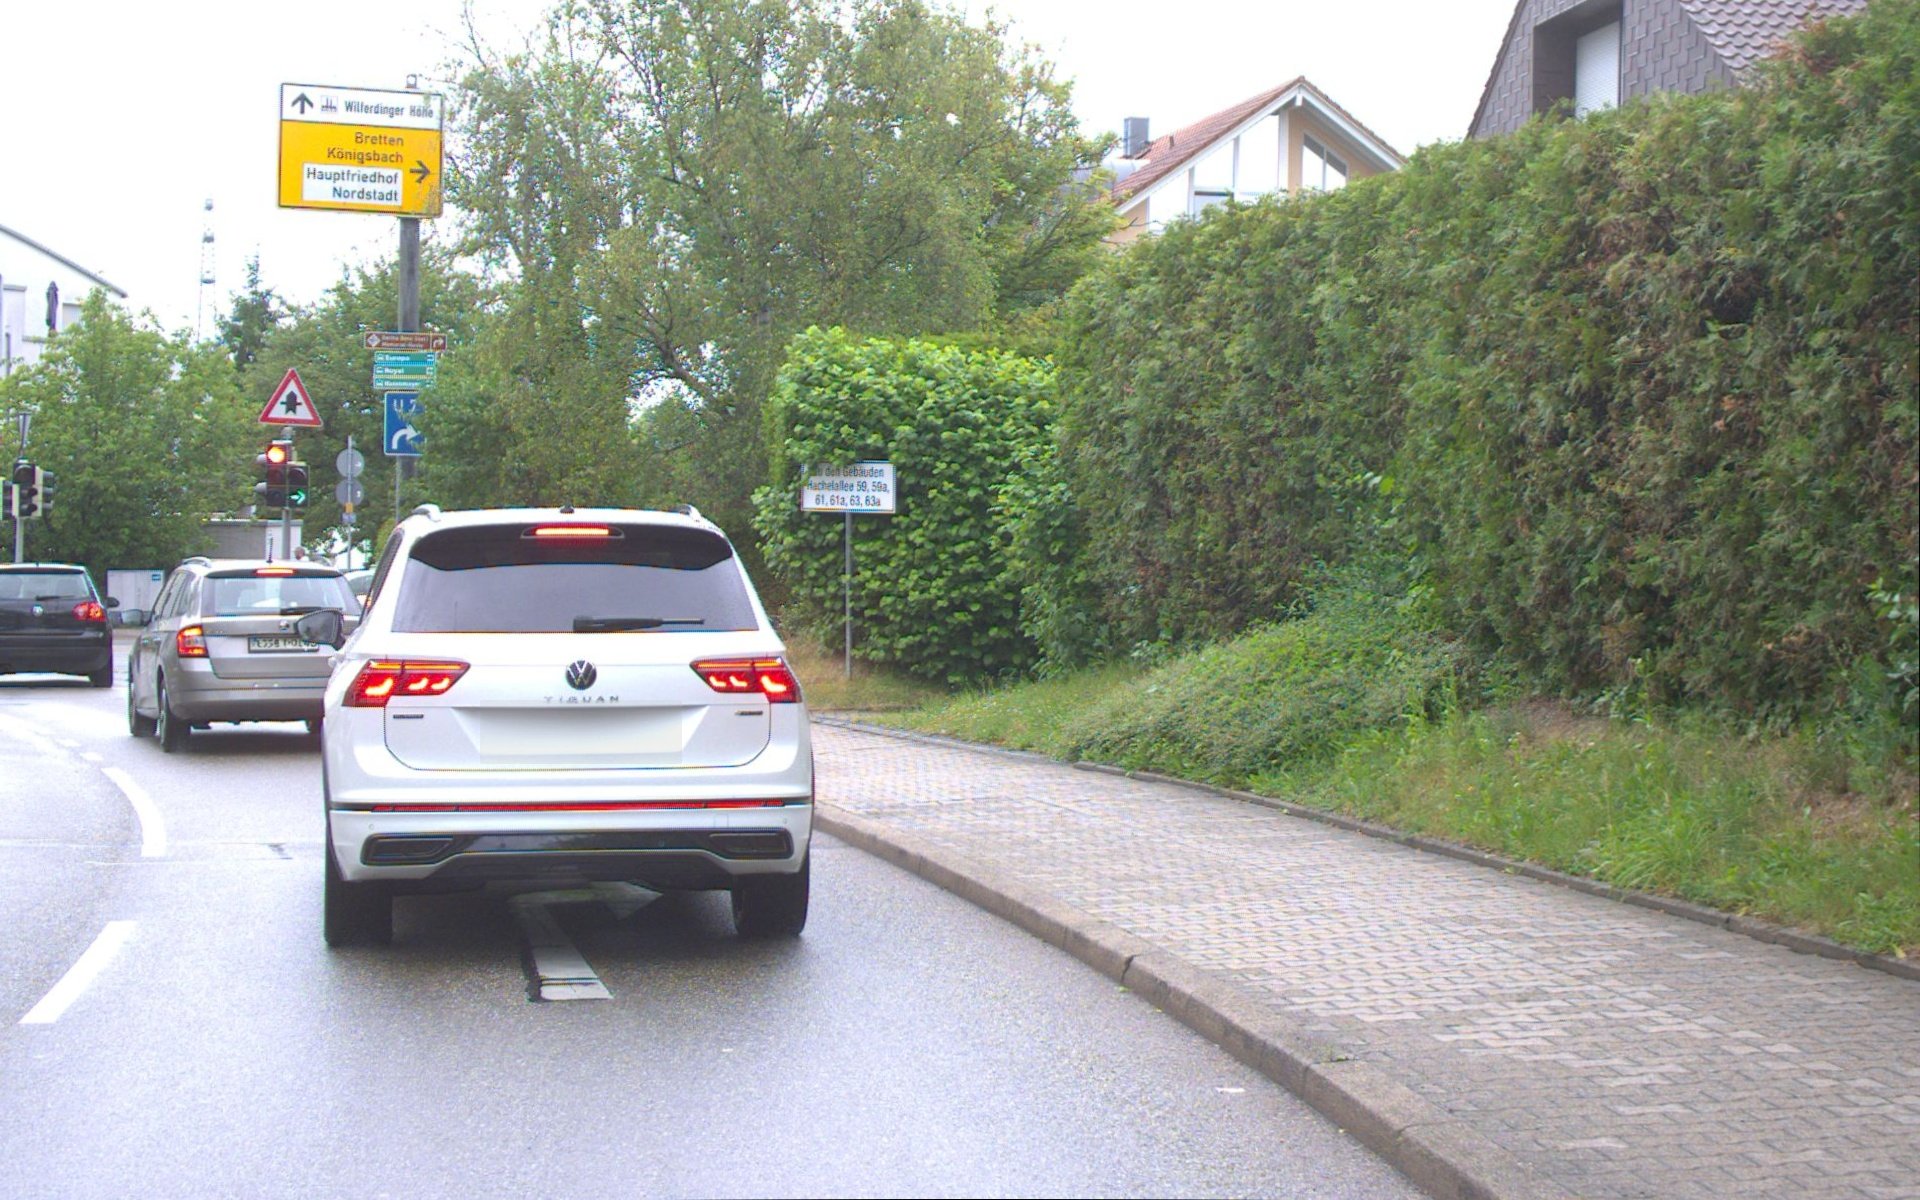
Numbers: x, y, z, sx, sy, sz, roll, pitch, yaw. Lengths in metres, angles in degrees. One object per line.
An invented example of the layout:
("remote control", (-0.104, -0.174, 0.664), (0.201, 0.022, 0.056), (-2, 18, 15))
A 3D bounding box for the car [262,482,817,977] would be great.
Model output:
("car", (-1.695, 0.407, 14.163), (1.920, 1.716, 4.266), (0, 1, -6))

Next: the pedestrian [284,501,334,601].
("pedestrian", (-13.359, -1.017, 70.571), (0.799, 2.006, 0.850), (-1, 4, -25))

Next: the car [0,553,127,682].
("car", (-11.123, 0.171, 41.189), (1.850, 1.424, 4.001), (0, 1, -19))

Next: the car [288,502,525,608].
("car", (-10.636, -0.867, 66.038), (3.986, 1.752, 2.001), (3, 3, -27))

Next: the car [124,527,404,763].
("car", (-5.607, 0.303, 27.350), (1.764, 1.504, 4.002), (3, 3, -17))
